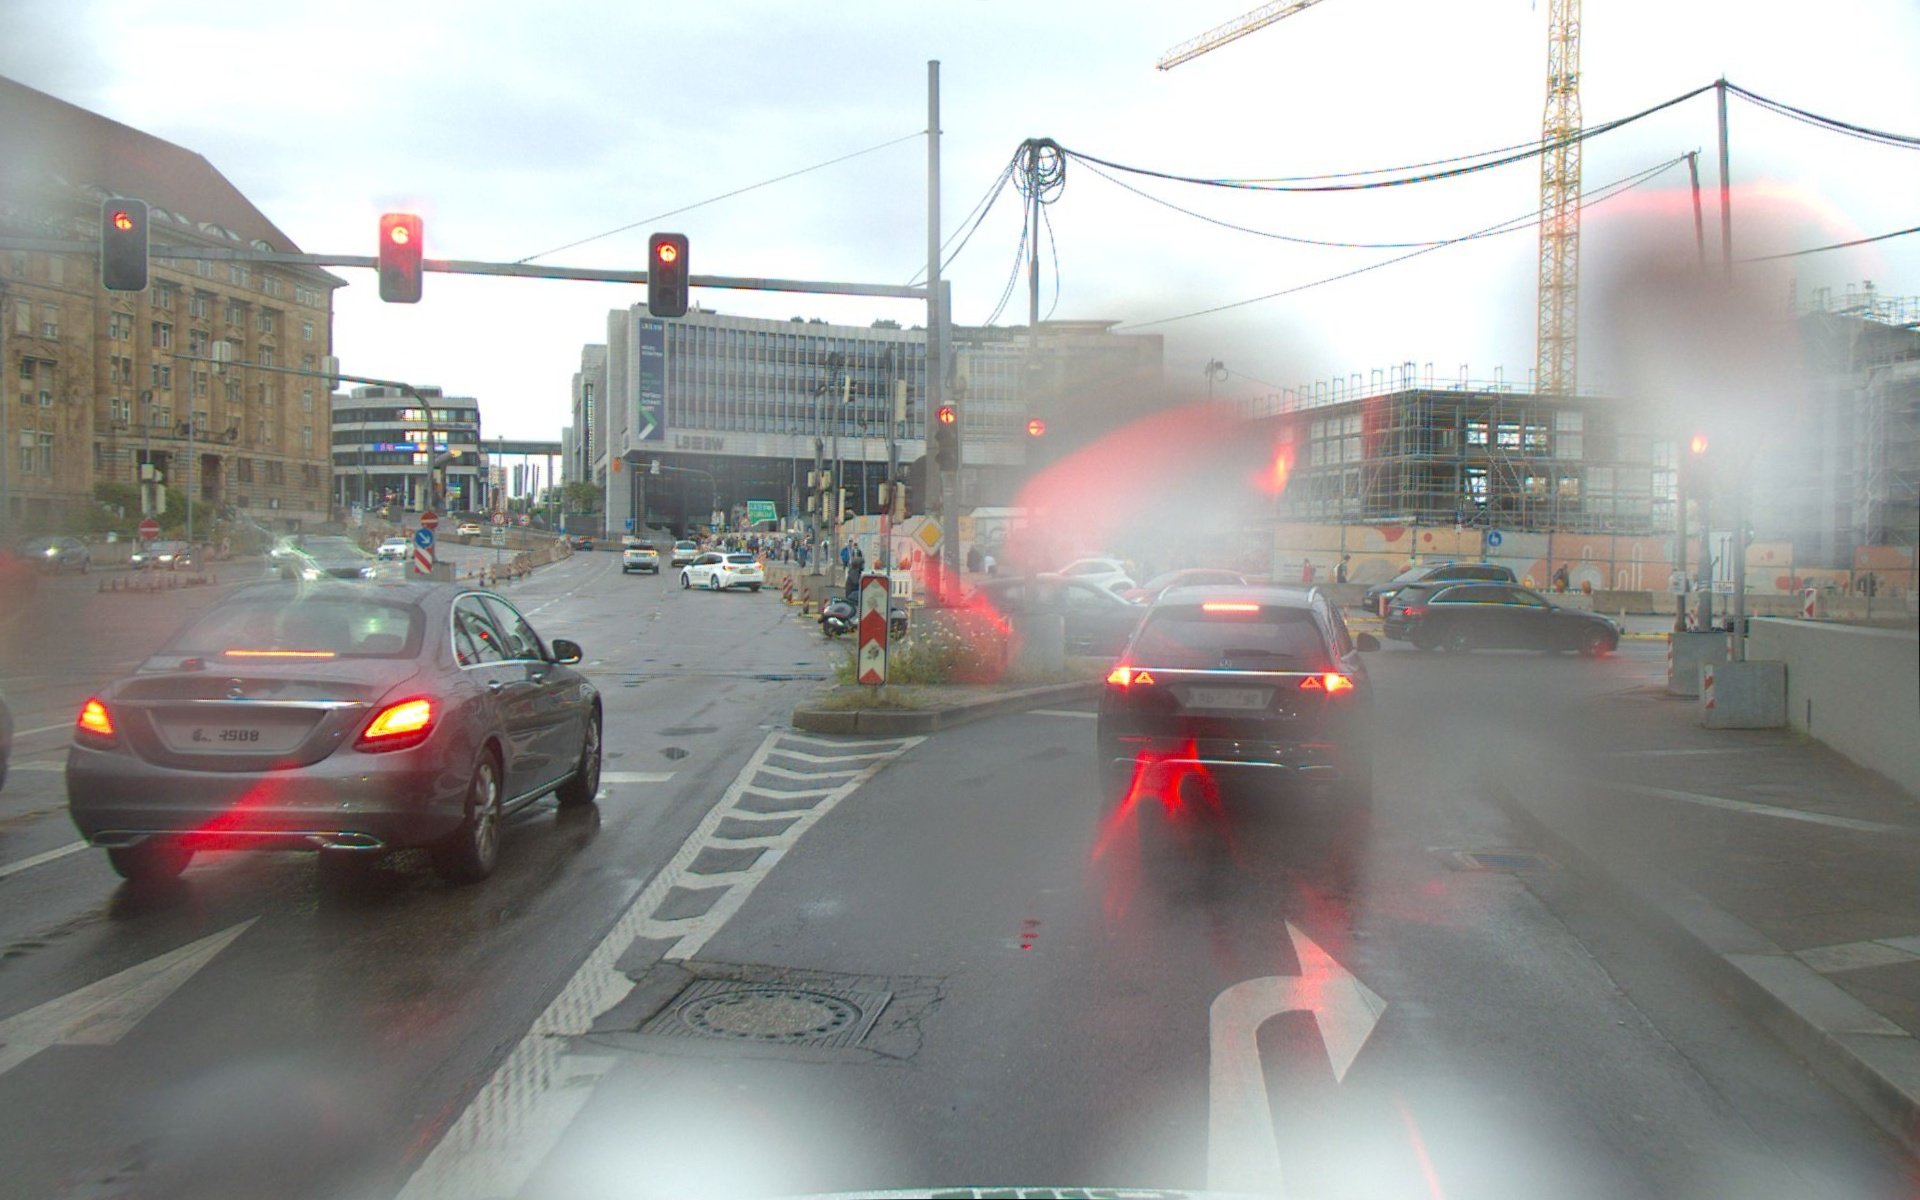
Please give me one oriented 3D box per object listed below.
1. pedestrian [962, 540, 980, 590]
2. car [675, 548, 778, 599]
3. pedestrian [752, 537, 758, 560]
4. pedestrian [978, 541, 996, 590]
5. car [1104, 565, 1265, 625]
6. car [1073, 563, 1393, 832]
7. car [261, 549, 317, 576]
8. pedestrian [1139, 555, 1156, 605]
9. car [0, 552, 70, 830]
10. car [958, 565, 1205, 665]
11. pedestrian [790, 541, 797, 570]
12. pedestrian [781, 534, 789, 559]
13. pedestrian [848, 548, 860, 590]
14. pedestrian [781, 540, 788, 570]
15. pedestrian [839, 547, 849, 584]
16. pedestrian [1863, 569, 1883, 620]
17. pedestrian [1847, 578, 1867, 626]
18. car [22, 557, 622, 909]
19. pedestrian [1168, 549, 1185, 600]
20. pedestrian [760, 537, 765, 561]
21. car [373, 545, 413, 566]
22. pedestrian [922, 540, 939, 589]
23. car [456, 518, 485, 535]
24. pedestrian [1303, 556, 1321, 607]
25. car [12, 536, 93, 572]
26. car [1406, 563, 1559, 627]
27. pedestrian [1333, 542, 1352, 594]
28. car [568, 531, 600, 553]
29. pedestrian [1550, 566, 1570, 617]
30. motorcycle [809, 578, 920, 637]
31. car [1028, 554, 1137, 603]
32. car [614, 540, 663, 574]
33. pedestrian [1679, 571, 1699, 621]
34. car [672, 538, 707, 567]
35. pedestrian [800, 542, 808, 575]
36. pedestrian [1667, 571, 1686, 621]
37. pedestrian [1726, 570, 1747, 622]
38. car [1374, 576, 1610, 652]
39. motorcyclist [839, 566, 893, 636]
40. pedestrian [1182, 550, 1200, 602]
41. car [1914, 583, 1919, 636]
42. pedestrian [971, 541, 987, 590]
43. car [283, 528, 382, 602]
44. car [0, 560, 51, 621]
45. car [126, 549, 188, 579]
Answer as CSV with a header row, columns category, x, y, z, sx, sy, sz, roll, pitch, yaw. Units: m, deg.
category,x,y,z,sx,sy,sz,roll,pitch,yaw
pedestrian,0.419,-1.376,64.693,0.359,1.931,0.568,2,-1,-41
car,-8.795,-0.984,62.025,1.978,1.797,4.362,2,0,-36
pedestrian,-17.322,-4.333,139.909,0.355,1.931,0.574,2,0,-13
pedestrian,1.054,-1.357,65.208,0.359,1.931,0.568,2,-1,-42
car,5.387,-0.108,39.880,3.475,1.327,1.659,2,0,-15
car,2.155,0.594,12.077,1.851,1.571,3.996,1,0,16
car,-35.153,-1.967,86.683,1.734,1.282,4.186,2,0,-8
pedestrian,7.233,-0.765,63.780,0.562,1.931,0.362,1,0,17
car,-6.162,0.477,7.316,1.849,1.541,5.000,2,0,-2
car,2.061,0.250,28.210,4.013,1.533,2.001,2,0,4
pedestrian,-11.119,-2.961,110.375,0.355,1.931,0.574,2,0,-13
pedestrian,-13.633,-4.154,128.773,0.510,1.931,0.574,2,0,-14
pedestrian,-4.977,-1.461,77.951,0.356,1.931,0.573,2,0,-22
pedestrian,-11.697,-2.997,110.252,0.355,1.931,0.574,2,0,-13
pedestrian,-6.056,-1.784,86.100,0.355,1.931,0.573,2,0,-18
pedestrian,35.140,-0.207,63.660,0.564,1.931,0.362,2,0,-7
pedestrian,36.186,0.068,66.740,0.564,1.931,0.361,2,0,-9
car,-3.172,0.515,9.287,1.747,1.426,4.485,2,2,-2
pedestrian,8.313,-0.980,63.558,0.563,1.931,0.362,1,0,0
pedestrian,-16.722,-4.321,140.084,0.355,1.931,0.574,2,0,-13
car,-37.676,-2.958,110.005,1.734,1.282,3.992,2,0,-8
pedestrian,-1.169,-1.420,65.872,0.359,1.931,0.567,2,-1,-43
car,-58.437,-8.744,197.448,1.979,1.847,3.947,2,0,-37
pedestrian,13.643,-0.712,64.135,0.563,1.931,0.362,1,0,-1
car,-35.839,-1.804,65.405,1.594,1.282,3.990,2,0,-10
car,15.641,-0.148,49.596,3.917,1.764,1.994,2,0,-12
pedestrian,14.350,-1.201,62.058,0.563,1.931,0.362,1,0,-1
car,-38.379,-5.927,168.738,1.975,2.049,3.956,2,0,-32
pedestrian,22.911,-0.316,63.136,0.564,1.931,0.362,2,0,-7
motorcycle,-1.931,0.158,33.637,2.090,1.128,0.852,2,0,7
car,4.027,-0.696,54.701,3.474,1.498,1.786,2,0,1
car,-17.174,-2.256,88.277,1.964,1.668,3.976,2,0,-20
pedestrian,28.284,-0.162,64.142,0.564,1.931,0.361,2,0,-9
car,-17.365,-3.081,105.965,1.701,1.668,3.418,2,3,-18
pedestrian,-9.151,-2.419,96.916,0.355,1.931,0.574,2,0,-13
pedestrian,28.151,-0.164,65.001,0.564,1.931,0.361,2,0,-9
pedestrian,29.366,-0.143,62.544,0.564,1.931,0.362,2,0,-7
car,10.526,0.274,32.930,4.016,1.368,1.999,2,0,-1
motorcyclist,-1.902,0.029,33.640,0.925,1.382,0.850,1,0,7
pedestrian,8.710,-0.896,62.445,0.563,1.931,0.362,2,0,-4
car,30.805,0.346,49.200,3.974,1.579,1.992,2,0,-16
pedestrian,0.749,-1.359,64.947,0.359,1.931,0.568,0,0,-40
car,-17.021,-0.906,44.736,1.970,1.829,5.058,2,0,-27
car,-26.362,-0.283,44.982,1.667,1.601,3.990,2,0,-11
car,-37.123,-1.637,76.548,1.706,1.282,3.321,2,0,-10
